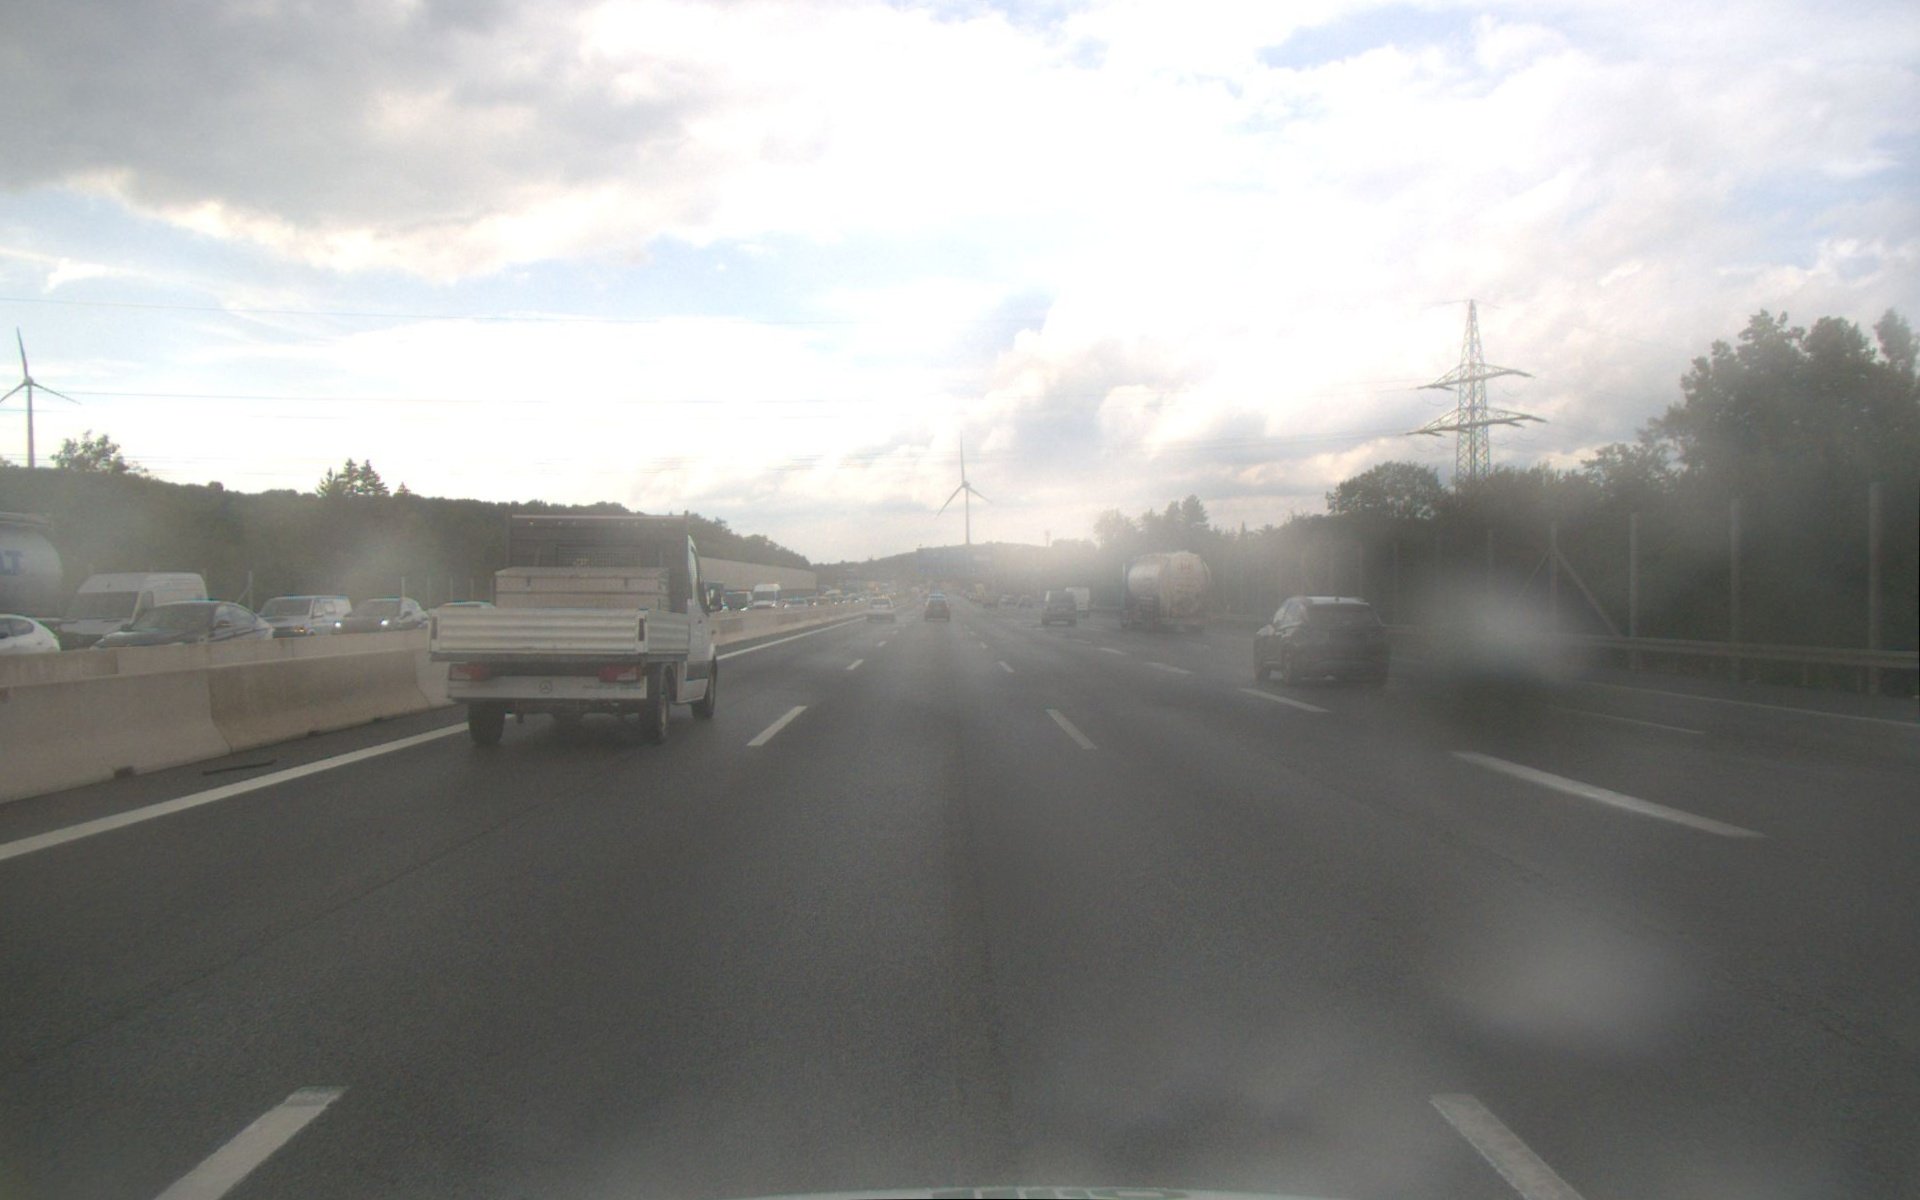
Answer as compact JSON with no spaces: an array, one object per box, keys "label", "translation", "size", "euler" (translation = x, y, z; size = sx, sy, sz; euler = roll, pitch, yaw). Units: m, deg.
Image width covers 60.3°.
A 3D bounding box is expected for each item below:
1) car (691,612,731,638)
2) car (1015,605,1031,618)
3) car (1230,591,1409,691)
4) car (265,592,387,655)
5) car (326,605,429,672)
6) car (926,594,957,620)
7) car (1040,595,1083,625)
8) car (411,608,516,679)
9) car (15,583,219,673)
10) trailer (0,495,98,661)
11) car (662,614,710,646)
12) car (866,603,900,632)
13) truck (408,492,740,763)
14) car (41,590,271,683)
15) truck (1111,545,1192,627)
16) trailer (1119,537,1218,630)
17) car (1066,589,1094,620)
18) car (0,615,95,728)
[{"label":"car","translation":[-15.476,1.539,103.037],"size":[1.812,1.503,5.080],"euler":[1,0,-1]},{"label":"car","translation":[8.692,1.639,228.904],"size":[1.953,1.780,4.495],"euler":[1,0,-1]},{"label":"car","translation":[6.699,0.710,31.421],"size":[2.005,1.729,5.003],"euler":[1,0,-4]},{"label":"car","translation":[-21.306,0.765,55.852],"size":[2.073,1.971,5.437],"euler":[1,0,-1]},{"label":"car","translation":[-18.291,1.169,52.106],"size":[1.855,1.987,3.999],"euler":[1,0,-1]},{"label":"car","translation":[-1.232,0.459,109.841],"size":[2.003,1.729,4.000],"euler":[0,0,0]},{"label":"car","translation":[6.038,0.571,99.029],"size":[2.056,1.729,3.997],"euler":[0,0,-4]},{"label":"car","translation":[-14.559,1.239,48.746],"size":[1.855,1.987,4.212],"euler":[1,0,-1]},{"label":"car","translation":[-22.251,0.702,44.066],"size":[2.073,2.187,6.617],"euler":[1,0,-1]},{"label":"trailer","translation":[-21.957,-0.487,32.876],"size":[2.655,3.588,13.607],"euler":[1,0,-1]},{"label":"car","translation":[-14.826,1.603,89.654],"size":[1.856,1.652,4.844],"euler":[1,0,-1]},{"label":"car","translation":[-4.783,1.055,103.106],"size":[2.003,1.729,3.999],"euler":[0,0,-1]},{"label":"truck","translation":[-4.020,0.246,18.820],"size":[2.306,2.450,7.354],"euler":[1,0,-2]},{"label":"car","translation":[-14.187,0.621,29.546],"size":[1.729,1.510,4.971],"euler":[0,-1,-1]},{"label":"truck","translation":[10.210,-0.727,88.961],"size":[3.265,4.151,8.270],"euler":[1,0,-1]},{"label":"trailer","translation":[10.292,-0.754,83.052],"size":[3.265,4.249,11.836],"euler":[1,0,-1]},{"label":"car","translation":[10.211,0.385,140.738],"size":[2.003,2.541,3.999],"euler":[0,0,-1]},{"label":"car","translation":[-18.284,1.309,30.848],"size":[1.691,2.003,5.042],"euler":[1,0,-1]}]
